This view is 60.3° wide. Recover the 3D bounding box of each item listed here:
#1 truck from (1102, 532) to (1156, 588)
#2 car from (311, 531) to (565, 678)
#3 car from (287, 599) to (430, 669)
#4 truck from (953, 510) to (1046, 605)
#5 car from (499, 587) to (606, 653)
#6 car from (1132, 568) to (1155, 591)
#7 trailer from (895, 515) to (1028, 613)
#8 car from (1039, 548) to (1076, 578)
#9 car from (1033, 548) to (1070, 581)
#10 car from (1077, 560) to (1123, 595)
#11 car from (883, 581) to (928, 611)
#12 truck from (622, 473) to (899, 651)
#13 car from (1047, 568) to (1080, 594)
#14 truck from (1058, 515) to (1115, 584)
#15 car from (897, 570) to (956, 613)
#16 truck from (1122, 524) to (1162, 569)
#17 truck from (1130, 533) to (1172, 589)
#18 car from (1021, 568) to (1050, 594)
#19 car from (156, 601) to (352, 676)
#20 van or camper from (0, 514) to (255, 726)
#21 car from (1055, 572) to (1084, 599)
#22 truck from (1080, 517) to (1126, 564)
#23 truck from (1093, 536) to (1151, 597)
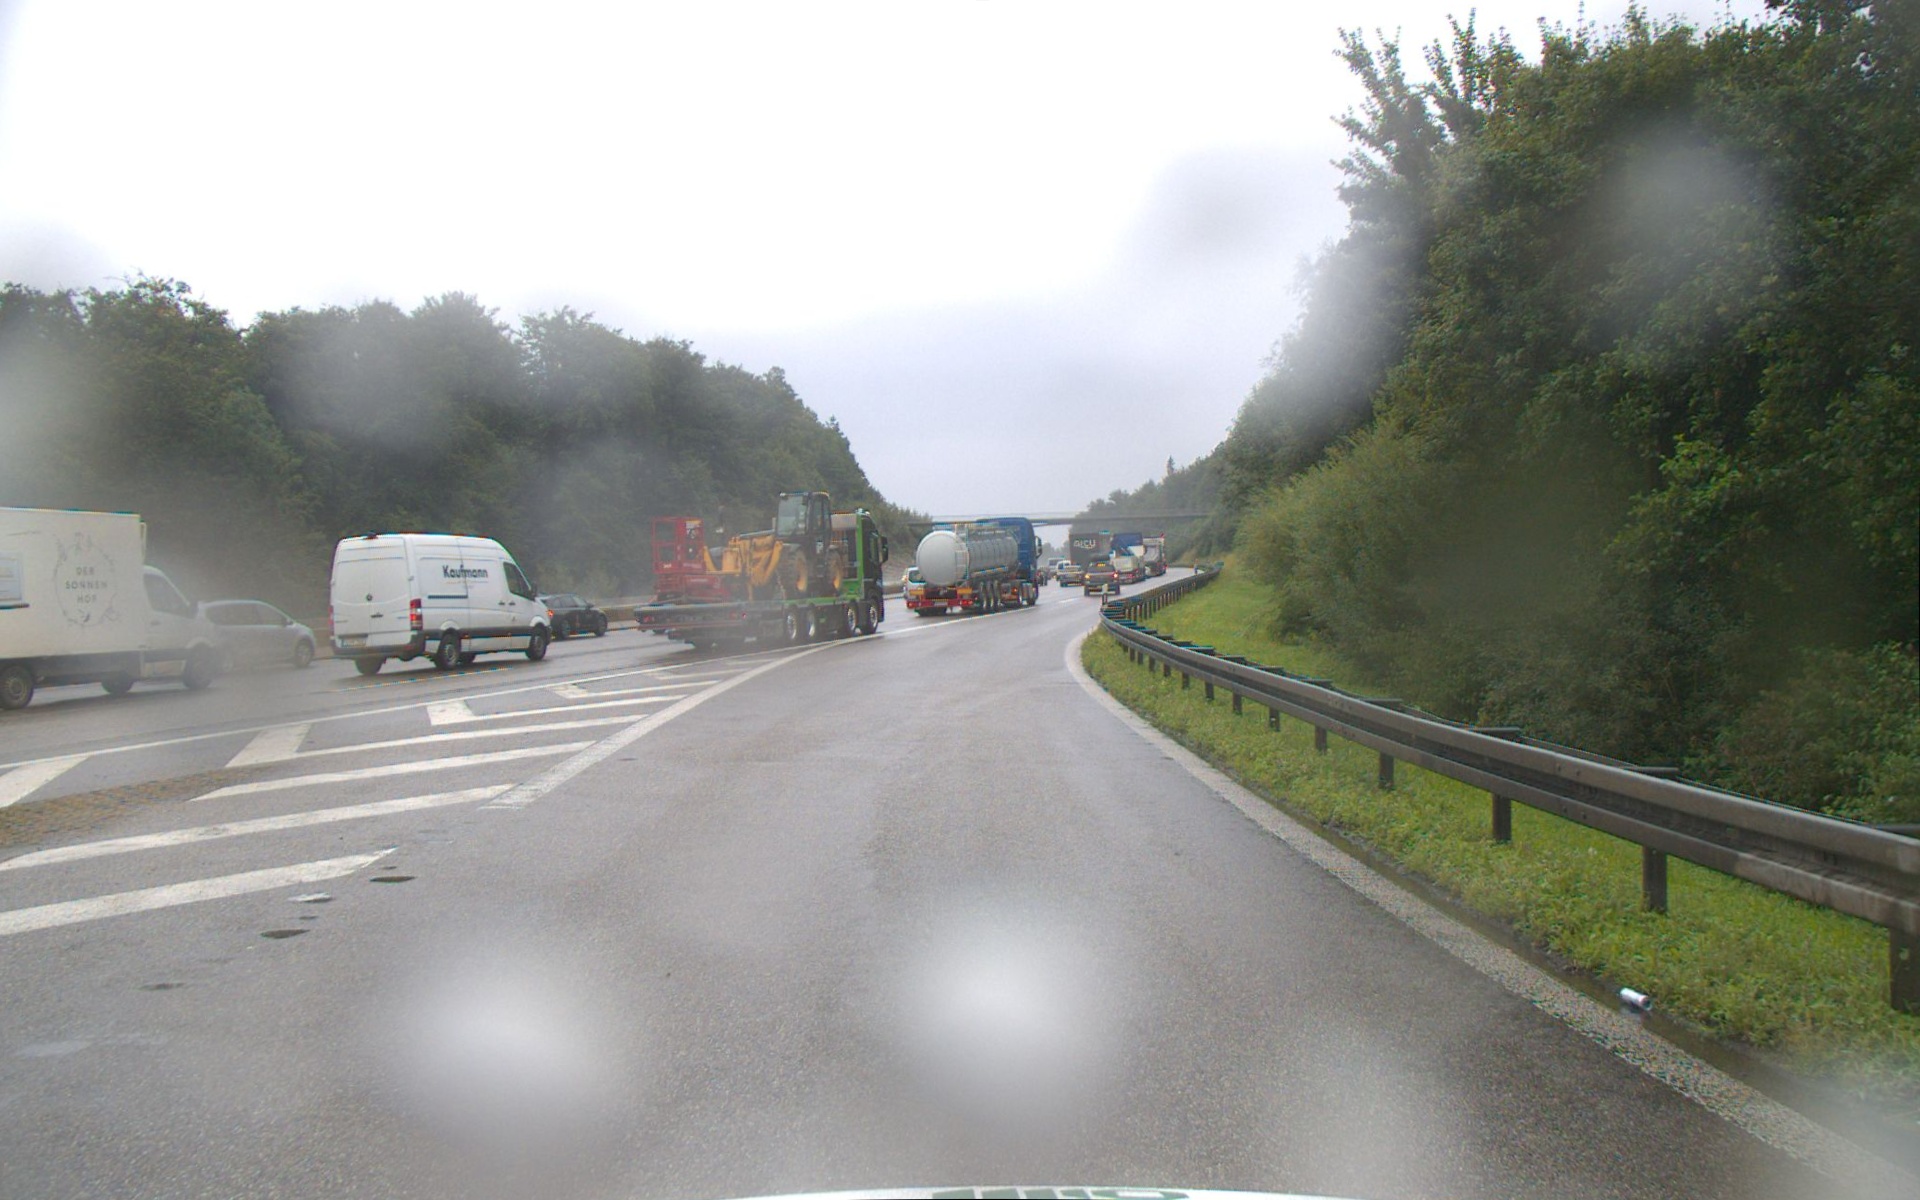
[{"bbox_3d":[14.260,-3.254,138.800,3.432,4.342,10.612,1,0,11],"label":"truck"},{"bbox_3d":[-10.480,0.049,33.838,2.168,2.675,5.849,-2,0,14],"label":"car"},{"bbox_3d":[-16.569,0.910,45.782,1.738,1.735,4.004,-2,0,14],"label":"car"},{"bbox_3d":[1.726,-1.816,70.037,2.815,3.757,5.061,-2,1,13],"label":"truck"},{"bbox_3d":[-13.418,0.650,54.627,1.759,2.049,4.003,1,0,13],"label":"car"},{"bbox_3d":[16.432,-1.824,147.881,1.759,1.937,4.003,-2,0,9],"label":"car"},{"bbox_3d":[0.228,-1.407,63.506,2.812,3.345,10.088,-2,1,13],"label":"trailer"},{"bbox_3d":[10.422,-3.916,176.398,3.177,3.055,6.779,1,0,10],"label":"car"},{"bbox_3d":[9.080,-3.507,163.952,3.029,3.055,6.779,1,0,8],"label":"car"},{"bbox_3d":[7.174,-1.114,84.544,1.951,1.665,4.003,1,0,10],"label":"car"},{"bbox_3d":[-3.360,-0.260,102.724,1.951,1.803,4.139,-1,1,10],"label":"car"},{"bbox_3d":[-4.497,-0.930,41.055,2.771,3.651,11.808,-3,1,13],"label":"truck"},{"bbox_3d":[12.492,-2.263,199.043,3.177,3.055,6.779,1,0,10],"label":"car"},{"bbox_3d":[11.040,-4.297,143.301,3.674,5.595,10.181,1,0,10],"label":"truck"},{"bbox_3d":[-1.468,-0.404,74.308,1.780,1.797,4.004,-1,1,11],"label":"car"},{"bbox_3d":[17.953,-5.182,162.718,3.675,4.040,11.067,1,0,7],"label":"truck"},{"bbox_3d":[21.395,-4.308,185.032,4.244,5.864,9.738,1,0,8],"label":"truck"},{"bbox_3d":[6.060,-1.488,132.234,1.759,1.937,4.003,-2,0,10],"label":"car"},{"bbox_3d":[-16.634,0.863,39.247,1.826,1.549,4.634,-2,0,13],"label":"car"},{"bbox_3d":[-15.442,0.308,28.144,2.524,3.260,7.137,-2,0,13],"label":"van or camper"},{"bbox_3d":[8.125,-1.030,122.144,1.759,1.937,4.003,1,0,9],"label":"car"},{"bbox_3d":[14.539,-5.967,167.145,3.500,4.167,10.889,-2,-1,10],"label":"truck"},{"bbox_3d":[12.106,-2.549,122.939,3.523,4.176,11.571,-2,1,9],"label":"truck"}]
